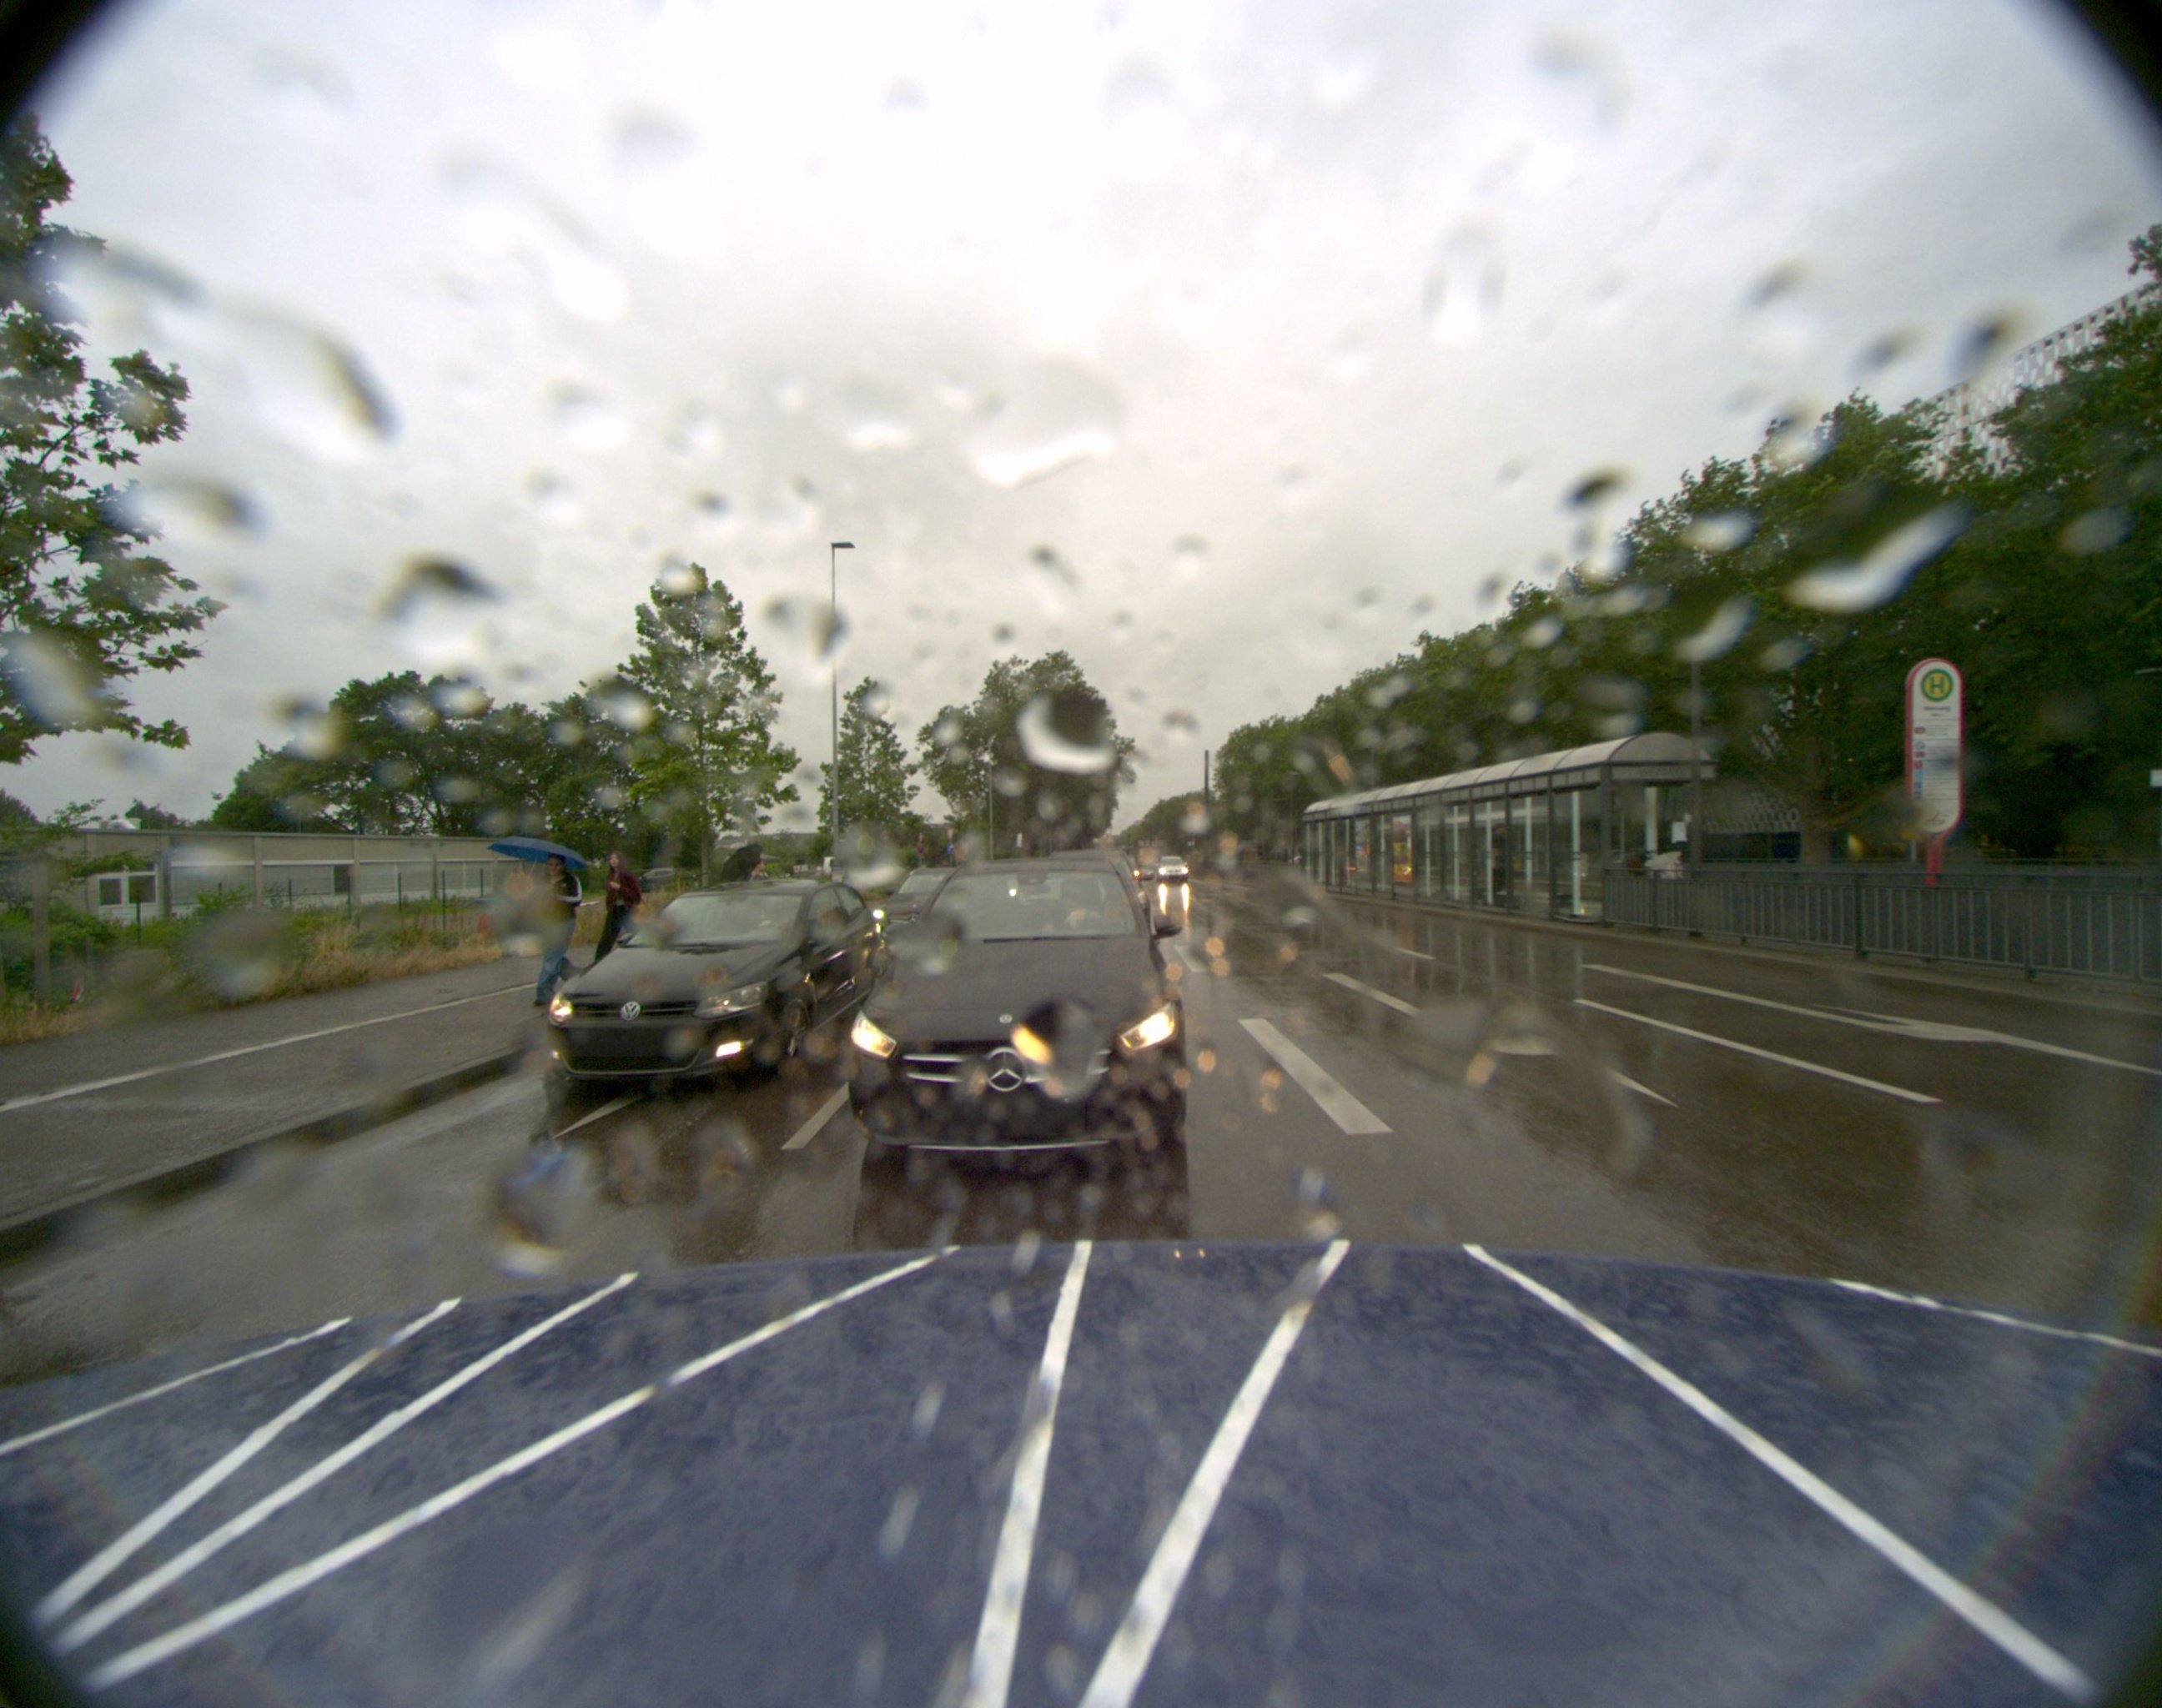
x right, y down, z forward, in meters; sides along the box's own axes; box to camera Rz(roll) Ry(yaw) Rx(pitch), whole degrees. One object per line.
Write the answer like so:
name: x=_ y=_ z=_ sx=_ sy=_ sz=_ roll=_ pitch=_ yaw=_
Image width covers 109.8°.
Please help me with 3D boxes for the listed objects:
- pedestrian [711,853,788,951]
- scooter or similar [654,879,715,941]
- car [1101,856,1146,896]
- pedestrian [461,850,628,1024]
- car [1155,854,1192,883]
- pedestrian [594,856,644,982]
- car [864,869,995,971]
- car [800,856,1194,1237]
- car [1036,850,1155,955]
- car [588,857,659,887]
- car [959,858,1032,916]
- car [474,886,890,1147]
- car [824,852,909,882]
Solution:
pedestrian: x=-6.039 y=0.849 z=13.887 sx=1.025 sy=1.698 sz=0.891 roll=1 pitch=1 yaw=0
scooter or similar: x=-8.217 y=1.134 z=15.819 sx=0.381 sy=1.123 sz=1.777 roll=0 pitch=1 yaw=-1
car: x=1.892 y=0.937 z=34.837 sx=1.794 sy=1.597 sz=3.999 roll=-2 pitch=1 yaw=0
pedestrian: x=-5.675 y=0.836 z=8.120 sx=1.082 sy=1.746 sz=0.969 roll=0 pitch=1 yaw=0
car: x=5.758 y=0.862 z=47.607 sx=1.794 sy=1.597 sz=3.999 roll=-2 pitch=1 yaw=0
pedestrian: x=-6.209 y=0.854 z=10.224 sx=0.401 sy=1.652 sz=0.440 roll=1 pitch=1 yaw=0
car: x=-2.800 y=1.170 z=14.903 sx=1.698 sy=1.565 sz=3.813 roll=-2 pitch=1 yaw=1
car: x=-0.343 y=0.867 z=5.458 sx=1.690 sy=1.578 sz=4.163 roll=-2 pitch=1 yaw=1
car: x=0.196 y=0.686 z=12.568 sx=1.633 sy=1.420 sz=3.624 roll=-2 pitch=0 yaw=0
car: x=-33.971 y=1.334 z=56.530 sx=3.996 sy=2.002 sz=2.000 roll=-2 pitch=1 yaw=2
car: x=-2.461 y=0.905 z=22.723 sx=1.703 sy=1.461 sz=4.121 roll=-2 pitch=1 yaw=0
car: x=-2.942 y=1.090 z=6.557 sx=1.633 sy=1.420 sz=3.624 roll=-2 pitch=0 yaw=0
car: x=-13.496 y=0.782 z=48.059 sx=4.759 sy=1.640 sz=1.999 roll=-2 pitch=1 yaw=-2
